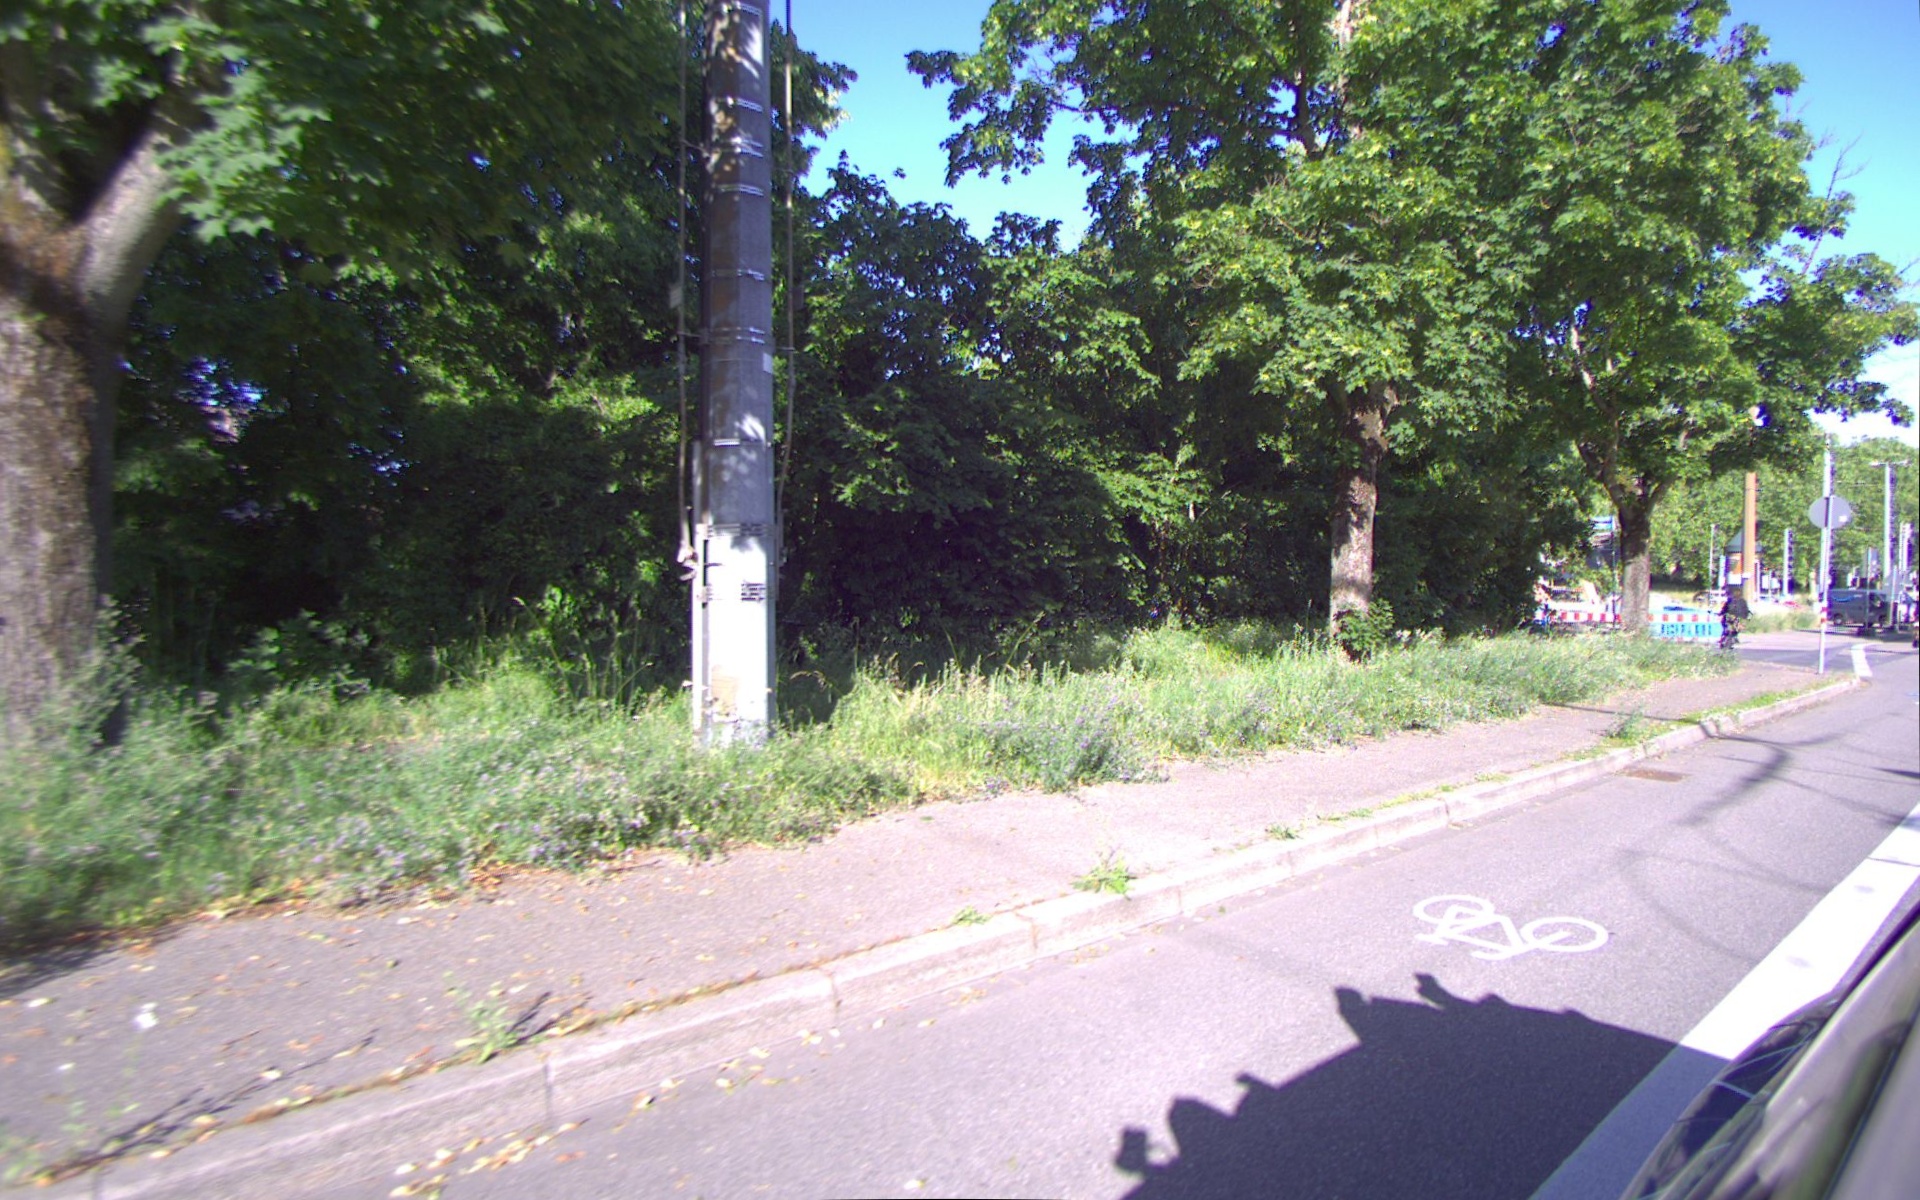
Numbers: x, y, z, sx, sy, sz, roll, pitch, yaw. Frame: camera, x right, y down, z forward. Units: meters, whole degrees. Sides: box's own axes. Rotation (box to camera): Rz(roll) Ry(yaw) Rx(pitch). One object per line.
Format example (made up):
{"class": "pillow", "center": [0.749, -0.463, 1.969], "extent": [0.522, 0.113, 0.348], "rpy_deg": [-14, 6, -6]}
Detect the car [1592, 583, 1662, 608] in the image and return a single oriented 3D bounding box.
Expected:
{"class": "car", "center": [50.400, -0.364, 76.549], "extent": [4.130, 1.699, 1.919], "rpy_deg": [2, 1, 24]}

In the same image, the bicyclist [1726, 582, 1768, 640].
{"class": "bicyclist", "center": [19.372, 0.258, 24.911], "extent": [0.755, 1.385, 0.795], "rpy_deg": [3, 1, 40]}

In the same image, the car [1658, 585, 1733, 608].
{"class": "car", "center": [58.173, -0.296, 80.091], "extent": [4.447, 1.732, 1.906], "rpy_deg": [1, 2, 25]}

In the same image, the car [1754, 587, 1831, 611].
{"class": "car", "center": [61.638, -0.067, 75.014], "extent": [4.053, 1.620, 1.799], "rpy_deg": [2, 2, 28]}

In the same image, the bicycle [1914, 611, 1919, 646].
{"class": "bicycle", "center": [26.703, 0.756, 27.708], "extent": [2.051, 0.934, 0.525], "rpy_deg": [-2, 2, -38]}

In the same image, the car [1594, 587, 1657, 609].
{"class": "car", "center": [53.790, -0.215, 81.915], "extent": [3.958, 1.638, 1.983], "rpy_deg": [2, 1, 25]}

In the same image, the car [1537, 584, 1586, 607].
{"class": "car", "center": [48.351, -0.374, 81.368], "extent": [3.173, 1.635, 1.363], "rpy_deg": [1, 5, 24]}

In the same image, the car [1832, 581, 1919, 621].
{"class": "car", "center": [53.760, 0.016, 58.400], "extent": [2.088, 2.096, 5.126], "rpy_deg": [0, 2, -5]}

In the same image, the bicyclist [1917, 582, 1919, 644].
{"class": "bicyclist", "center": [26.940, 0.356, 27.930], "extent": [0.916, 1.700, 0.616], "rpy_deg": [0, 1, -39]}

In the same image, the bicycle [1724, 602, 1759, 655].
{"class": "bicycle", "center": [19.339, 0.673, 25.024], "extent": [0.618, 1.205, 2.471], "rpy_deg": [2, 2, 39]}
